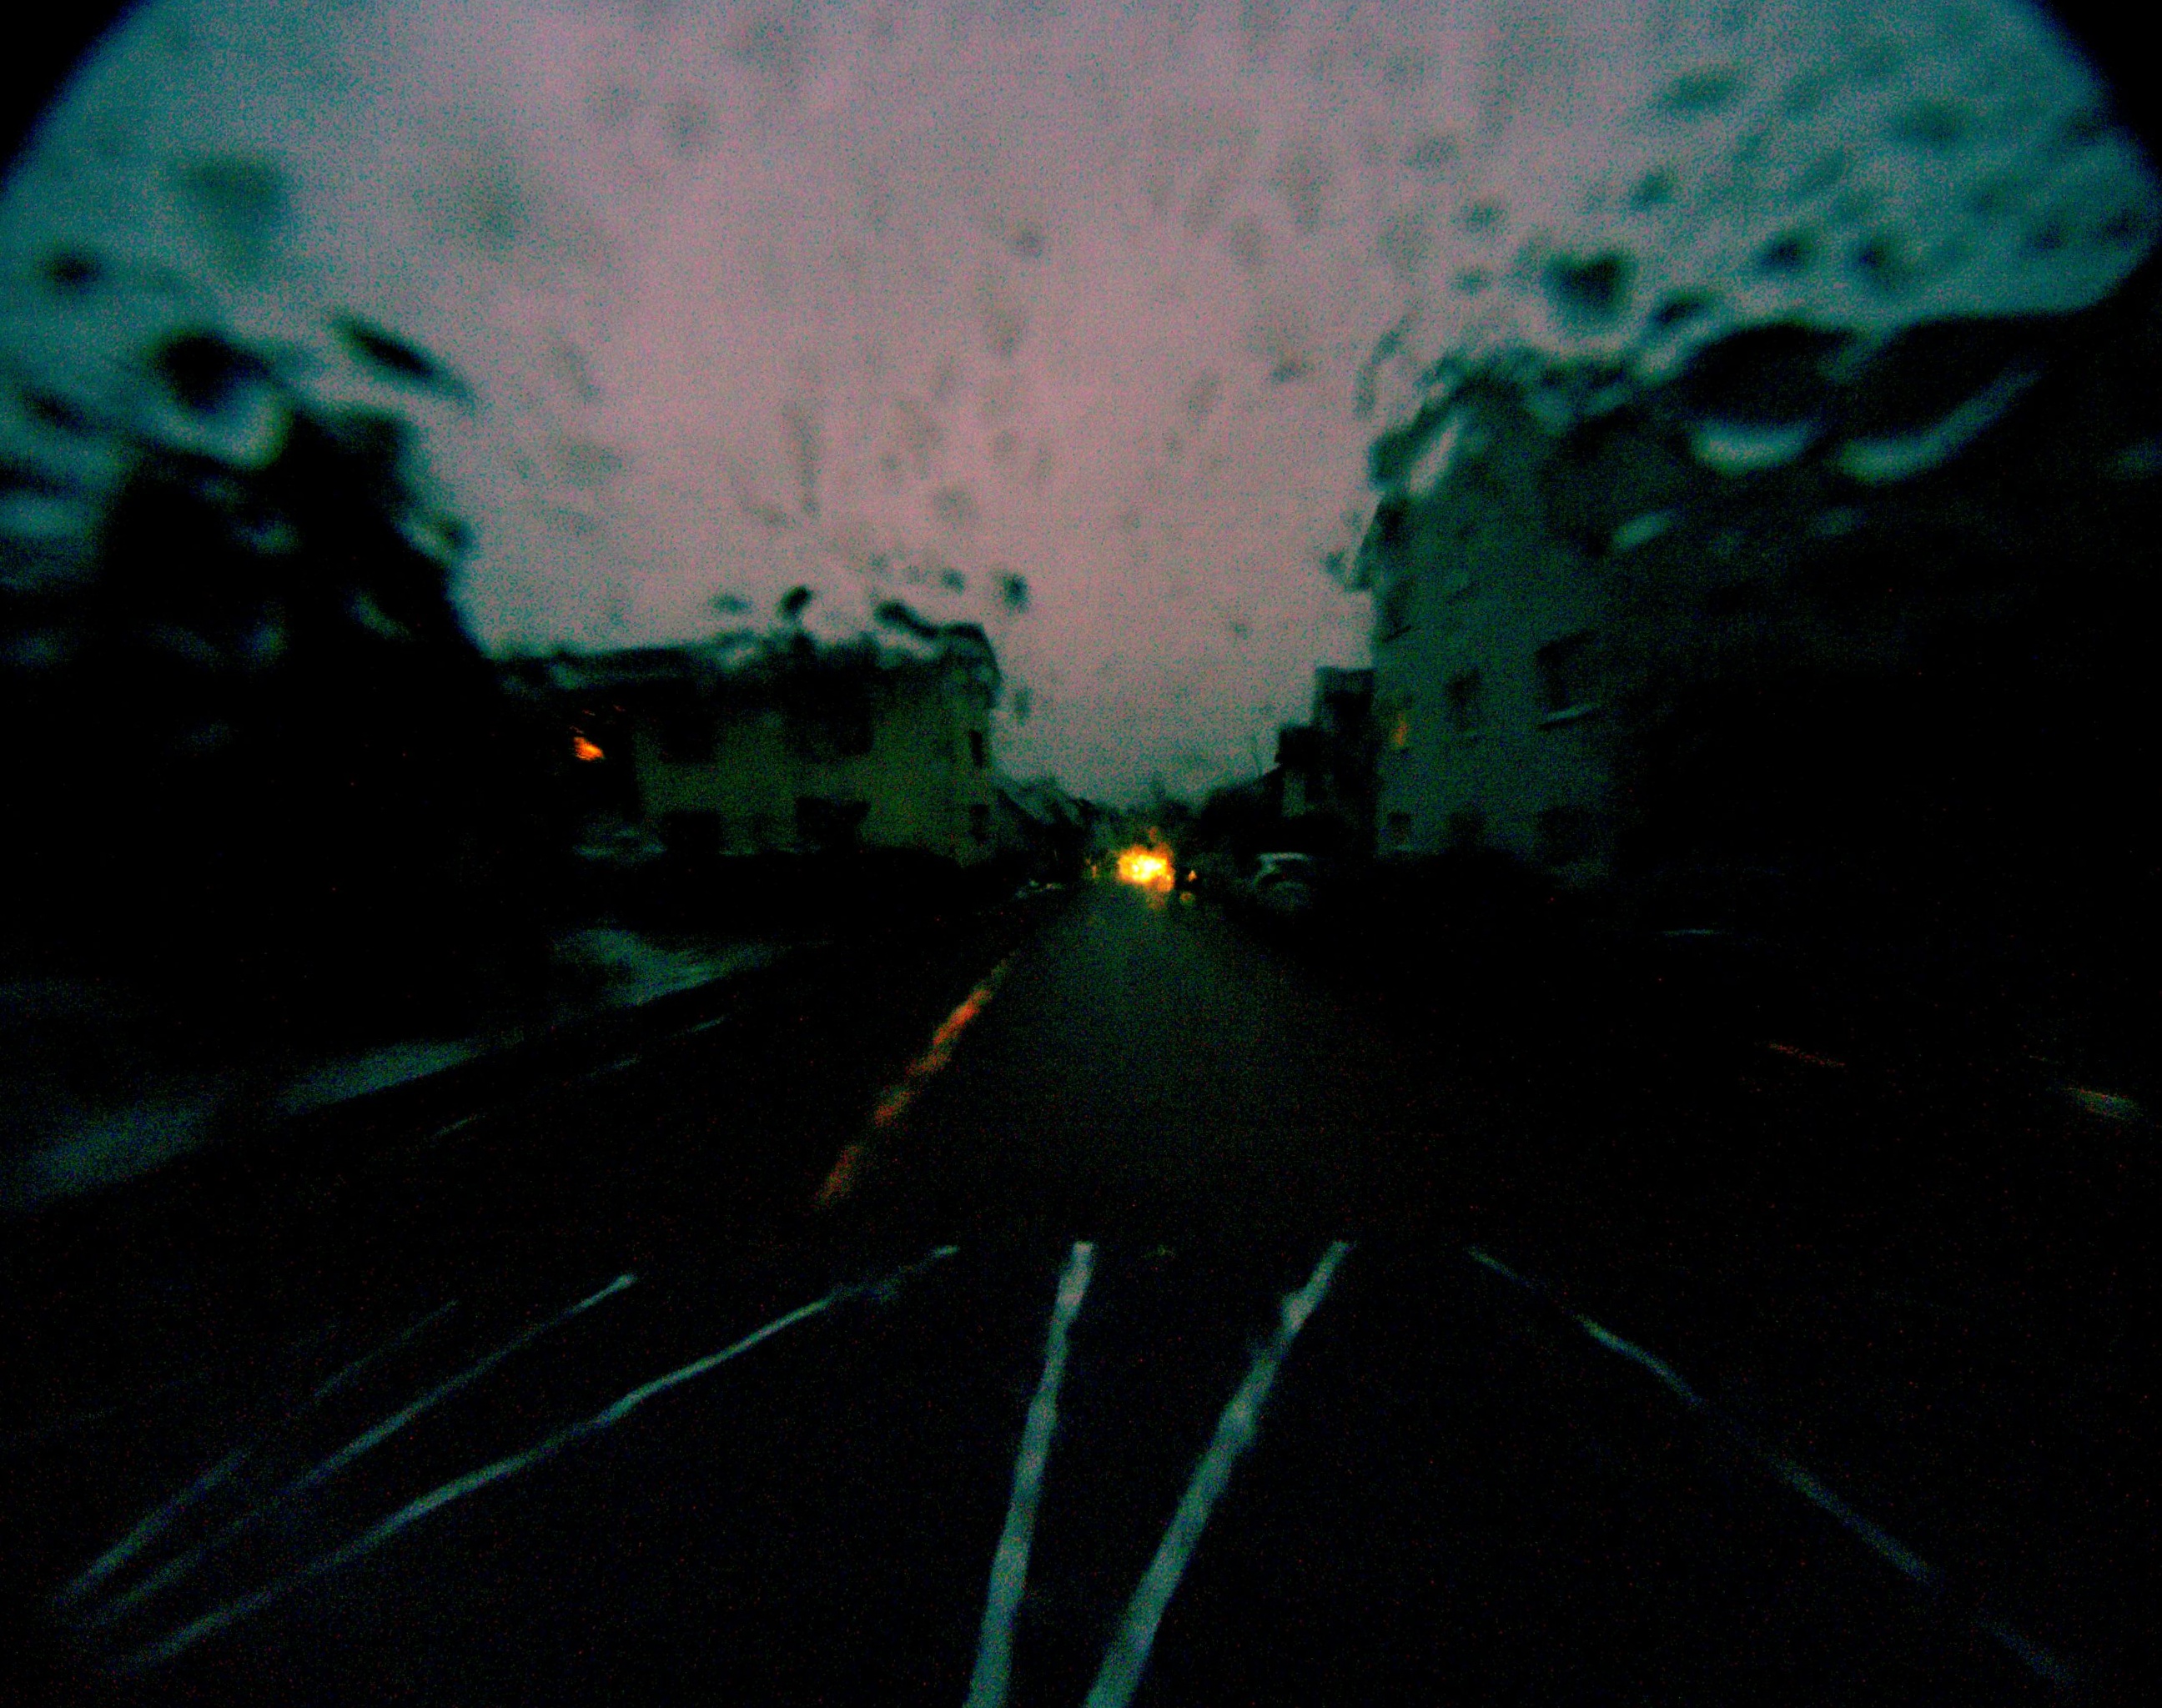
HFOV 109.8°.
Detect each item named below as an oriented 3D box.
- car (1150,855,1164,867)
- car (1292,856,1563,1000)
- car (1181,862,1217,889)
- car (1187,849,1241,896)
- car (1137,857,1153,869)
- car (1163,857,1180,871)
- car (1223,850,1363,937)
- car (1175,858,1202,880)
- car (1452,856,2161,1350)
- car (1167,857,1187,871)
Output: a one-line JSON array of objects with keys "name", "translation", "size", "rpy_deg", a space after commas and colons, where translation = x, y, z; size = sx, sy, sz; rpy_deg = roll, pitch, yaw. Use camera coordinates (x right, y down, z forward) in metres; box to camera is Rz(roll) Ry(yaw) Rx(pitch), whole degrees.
[{"name": "car", "translation": [12.344, 1.110, 122.642], "size": [1.793, 1.764, 3.892], "rpy_deg": [-1, 0, 12]}, {"name": "car", "translation": [4.154, 0.779, 9.903], "size": [1.738, 1.428, 4.034], "rpy_deg": [-1, 0, 1]}, {"name": "car", "translation": [6.868, 1.226, 44.533], "size": [1.829, 1.457, 4.001], "rpy_deg": [0, 0, 4]}, {"name": "car", "translation": [5.397, 0.728, 31.161], "size": [1.775, 1.782, 4.130], "rpy_deg": [-1, 0, 4]}, {"name": "car", "translation": [8.752, 1.250, 104.246], "size": [1.755, 1.487, 4.253], "rpy_deg": [-1, 0, 10]}, {"name": "car", "translation": [10.899, 1.206, 91.558], "size": [1.720, 1.616, 3.731], "rpy_deg": [-1, 0, 2]}, {"name": "car", "translation": [4.465, 0.747, 16.724], "size": [1.923, 1.615, 4.423], "rpy_deg": [-1, 0, 1]}, {"name": "car", "translation": [7.962, 1.072, 56.594], "size": [1.766, 1.543, 4.002], "rpy_deg": [0, 0, 5]}, {"name": "car", "translation": [4.176, 0.777, 4.514], "size": [1.738, 1.435, 4.439], "rpy_deg": [-2, 0, 0]}, {"name": "car", "translation": [9.931, 1.024, 79.042], "size": [1.720, 1.404, 3.731], "rpy_deg": [-1, 0, 2]}]
